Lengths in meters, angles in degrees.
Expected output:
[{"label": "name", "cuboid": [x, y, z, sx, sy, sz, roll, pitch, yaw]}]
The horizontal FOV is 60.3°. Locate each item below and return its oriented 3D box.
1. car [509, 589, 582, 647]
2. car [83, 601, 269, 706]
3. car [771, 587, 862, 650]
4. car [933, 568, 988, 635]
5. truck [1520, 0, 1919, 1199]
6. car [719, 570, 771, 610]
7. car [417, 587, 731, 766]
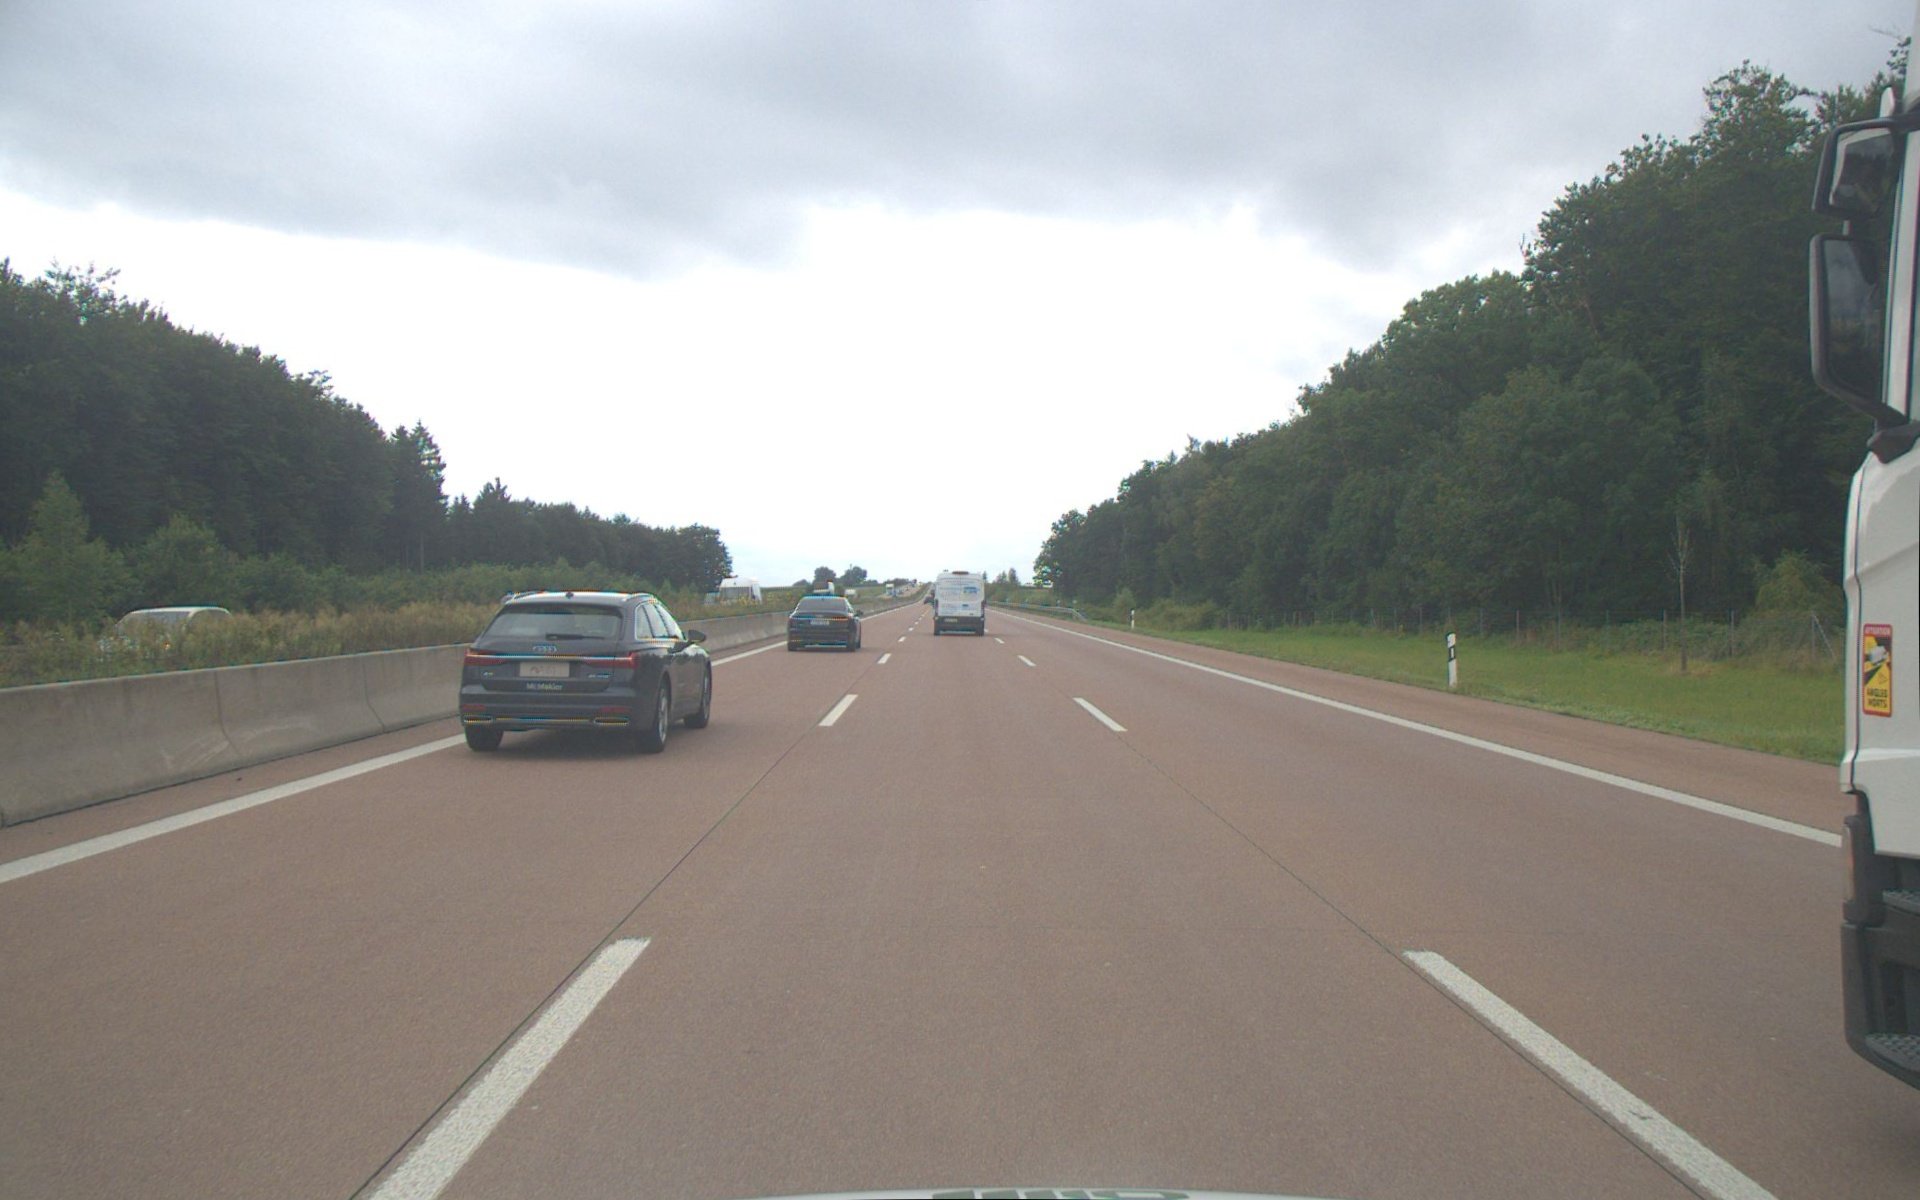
[{"label": "car", "cuboid": [-15.159, 0.636, 60.696, 1.638, 2.015, 4.000, 2, 0, 0]}, {"label": "car", "cuboid": [-14.738, 0.962, 31.315, 1.747, 1.803, 3.752, 1, 0, -1]}, {"label": "car", "cuboid": [-3.912, 0.470, 45.913, 2.042, 1.577, 5.674, 1, 1, 0]}, {"label": "car", "cuboid": [0.014, 0.012, 66.966, 2.094, 2.551, 7.131, 0, 1, 0]}, {"label": "truck", "cuboid": [3.679, -0.723, 3.822, 2.862, 4.369, 5.333, 1, 0, -1]}, {"label": "car", "cuboid": [-12.360, -0.573, 95.653, 2.030, 2.179, 7.487, 1, 0, -1]}, {"label": "car", "cuboid": [-3.707, 0.642, 16.991, 2.017, 1.517, 5.452, 1, 0, -1]}]
